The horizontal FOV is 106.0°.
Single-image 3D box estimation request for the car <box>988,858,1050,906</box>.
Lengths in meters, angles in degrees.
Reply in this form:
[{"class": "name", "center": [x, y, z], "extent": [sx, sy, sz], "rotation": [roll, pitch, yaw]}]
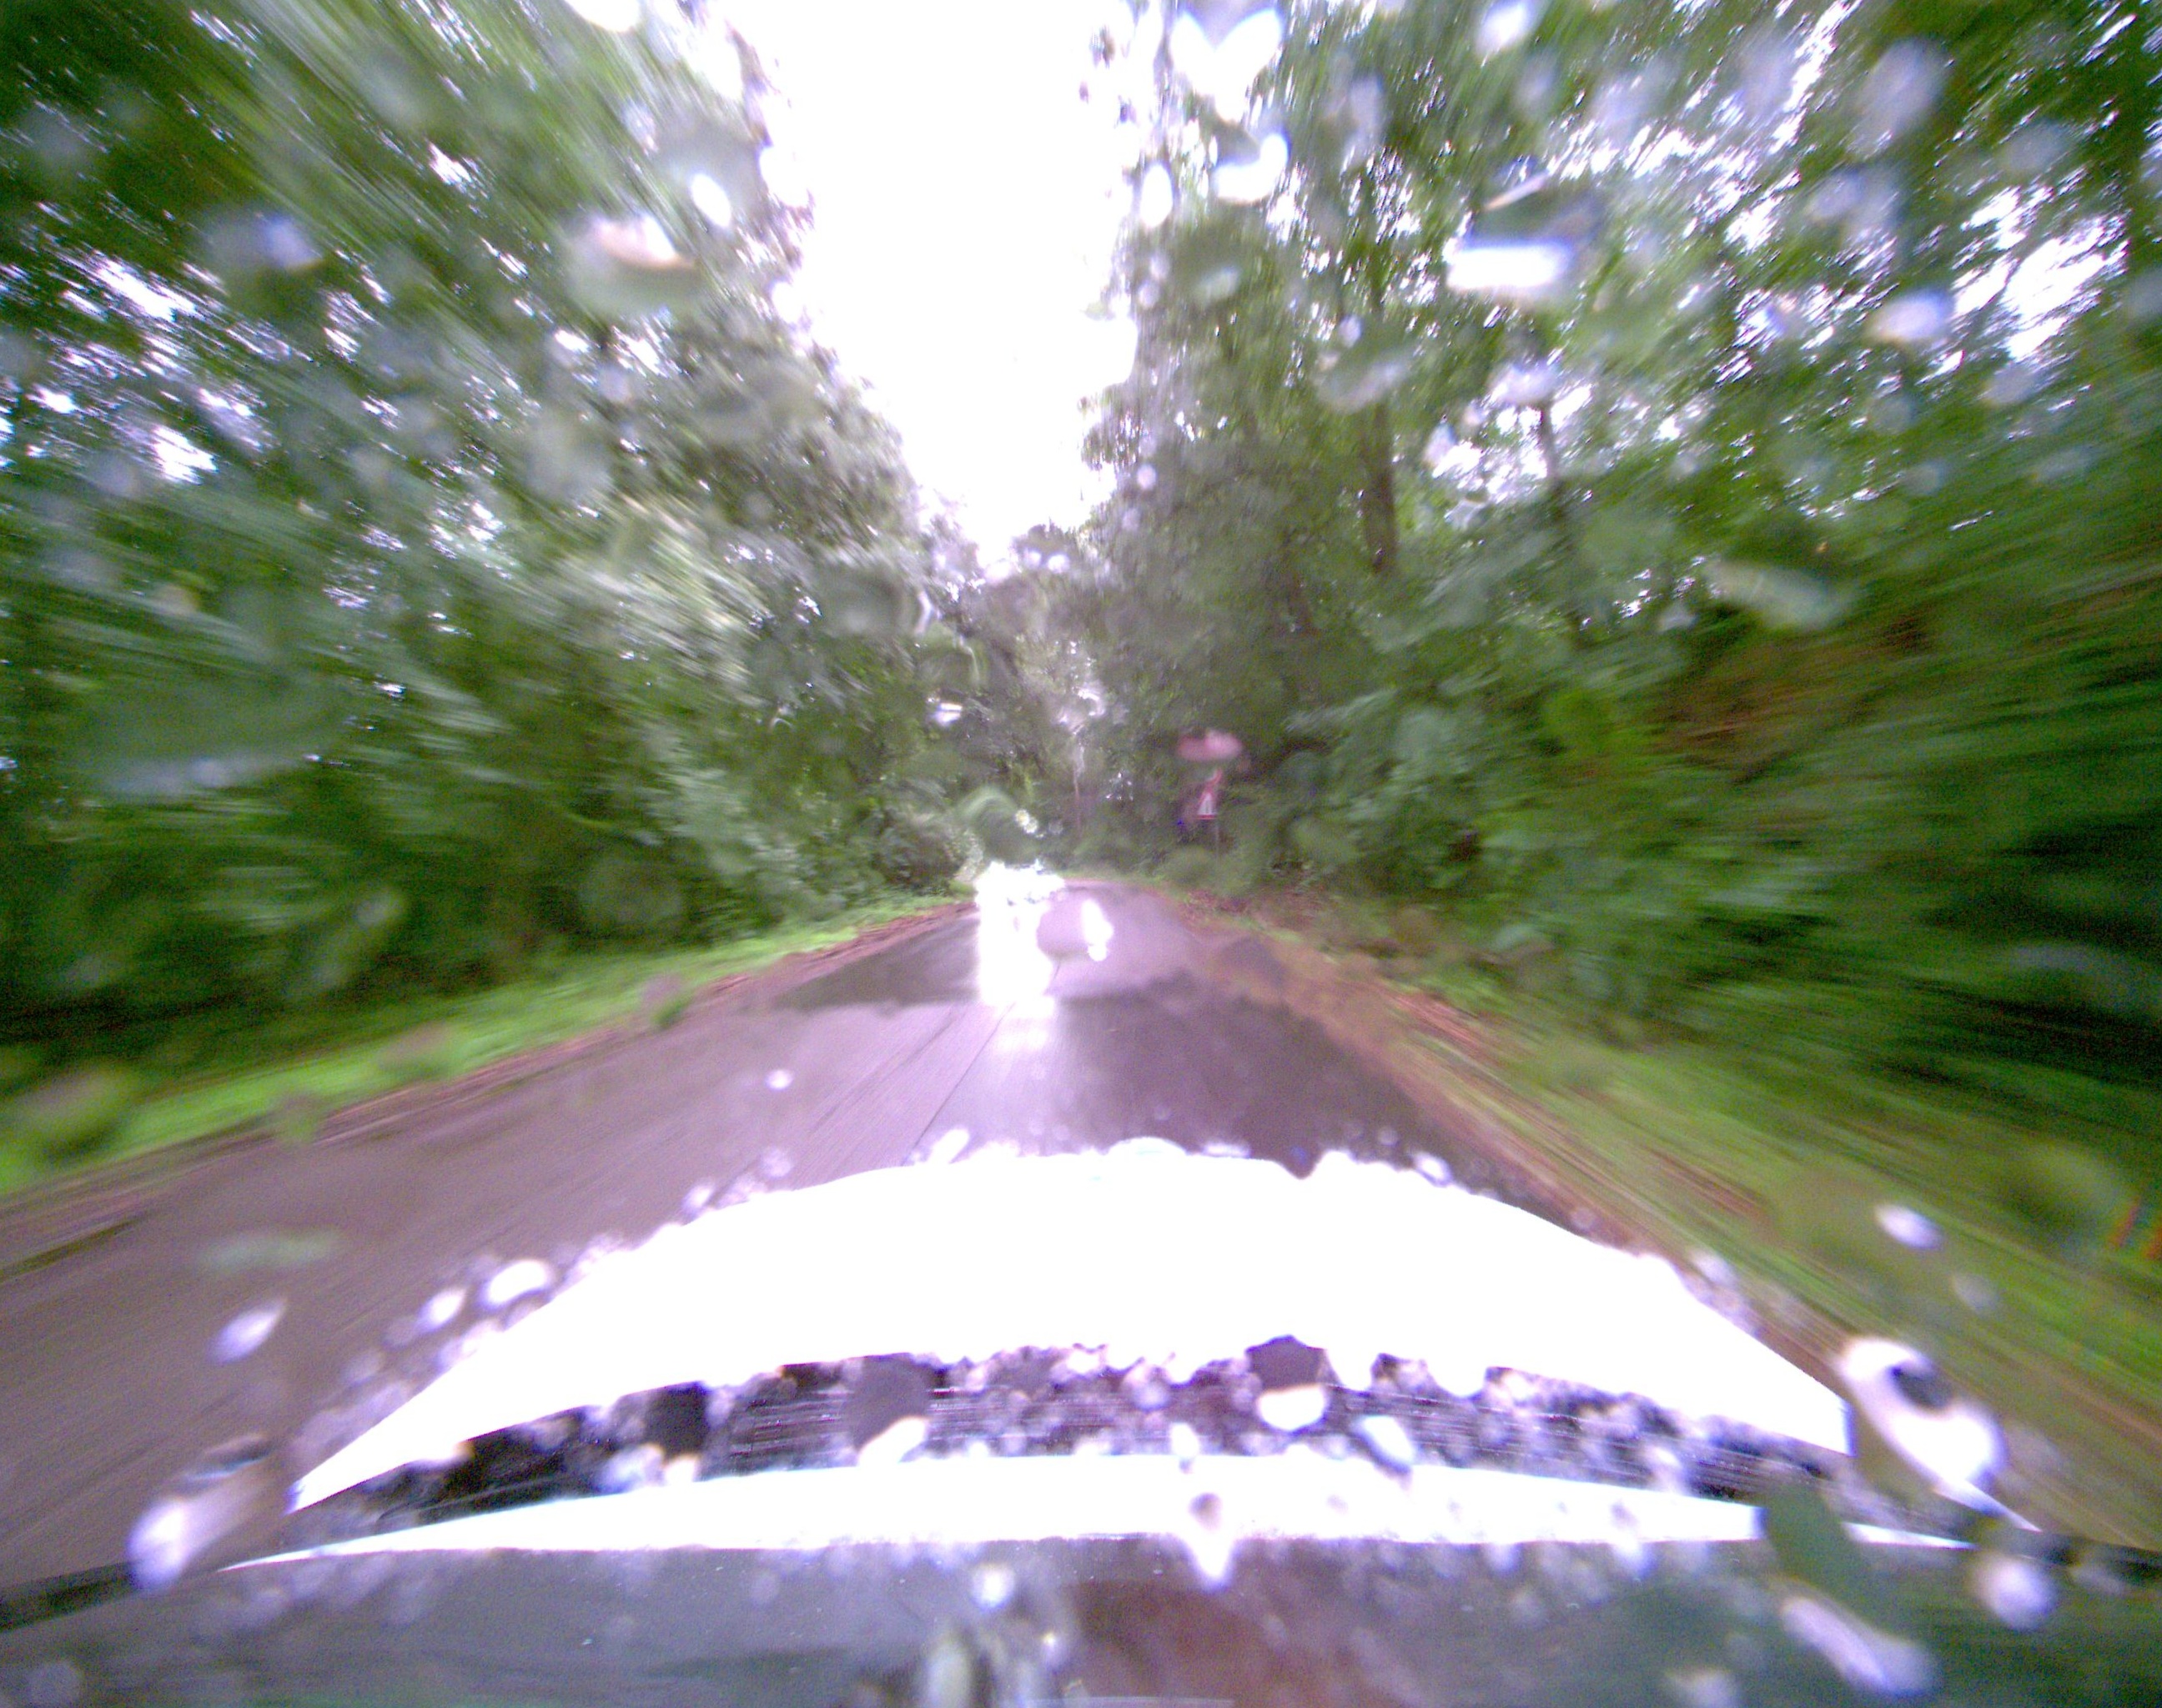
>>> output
[{"class": "car", "center": [-2.175, 0.962, 29.606], "extent": [1.707, 1.475, 3.892], "rotation": [-5, -1, 2]}]
